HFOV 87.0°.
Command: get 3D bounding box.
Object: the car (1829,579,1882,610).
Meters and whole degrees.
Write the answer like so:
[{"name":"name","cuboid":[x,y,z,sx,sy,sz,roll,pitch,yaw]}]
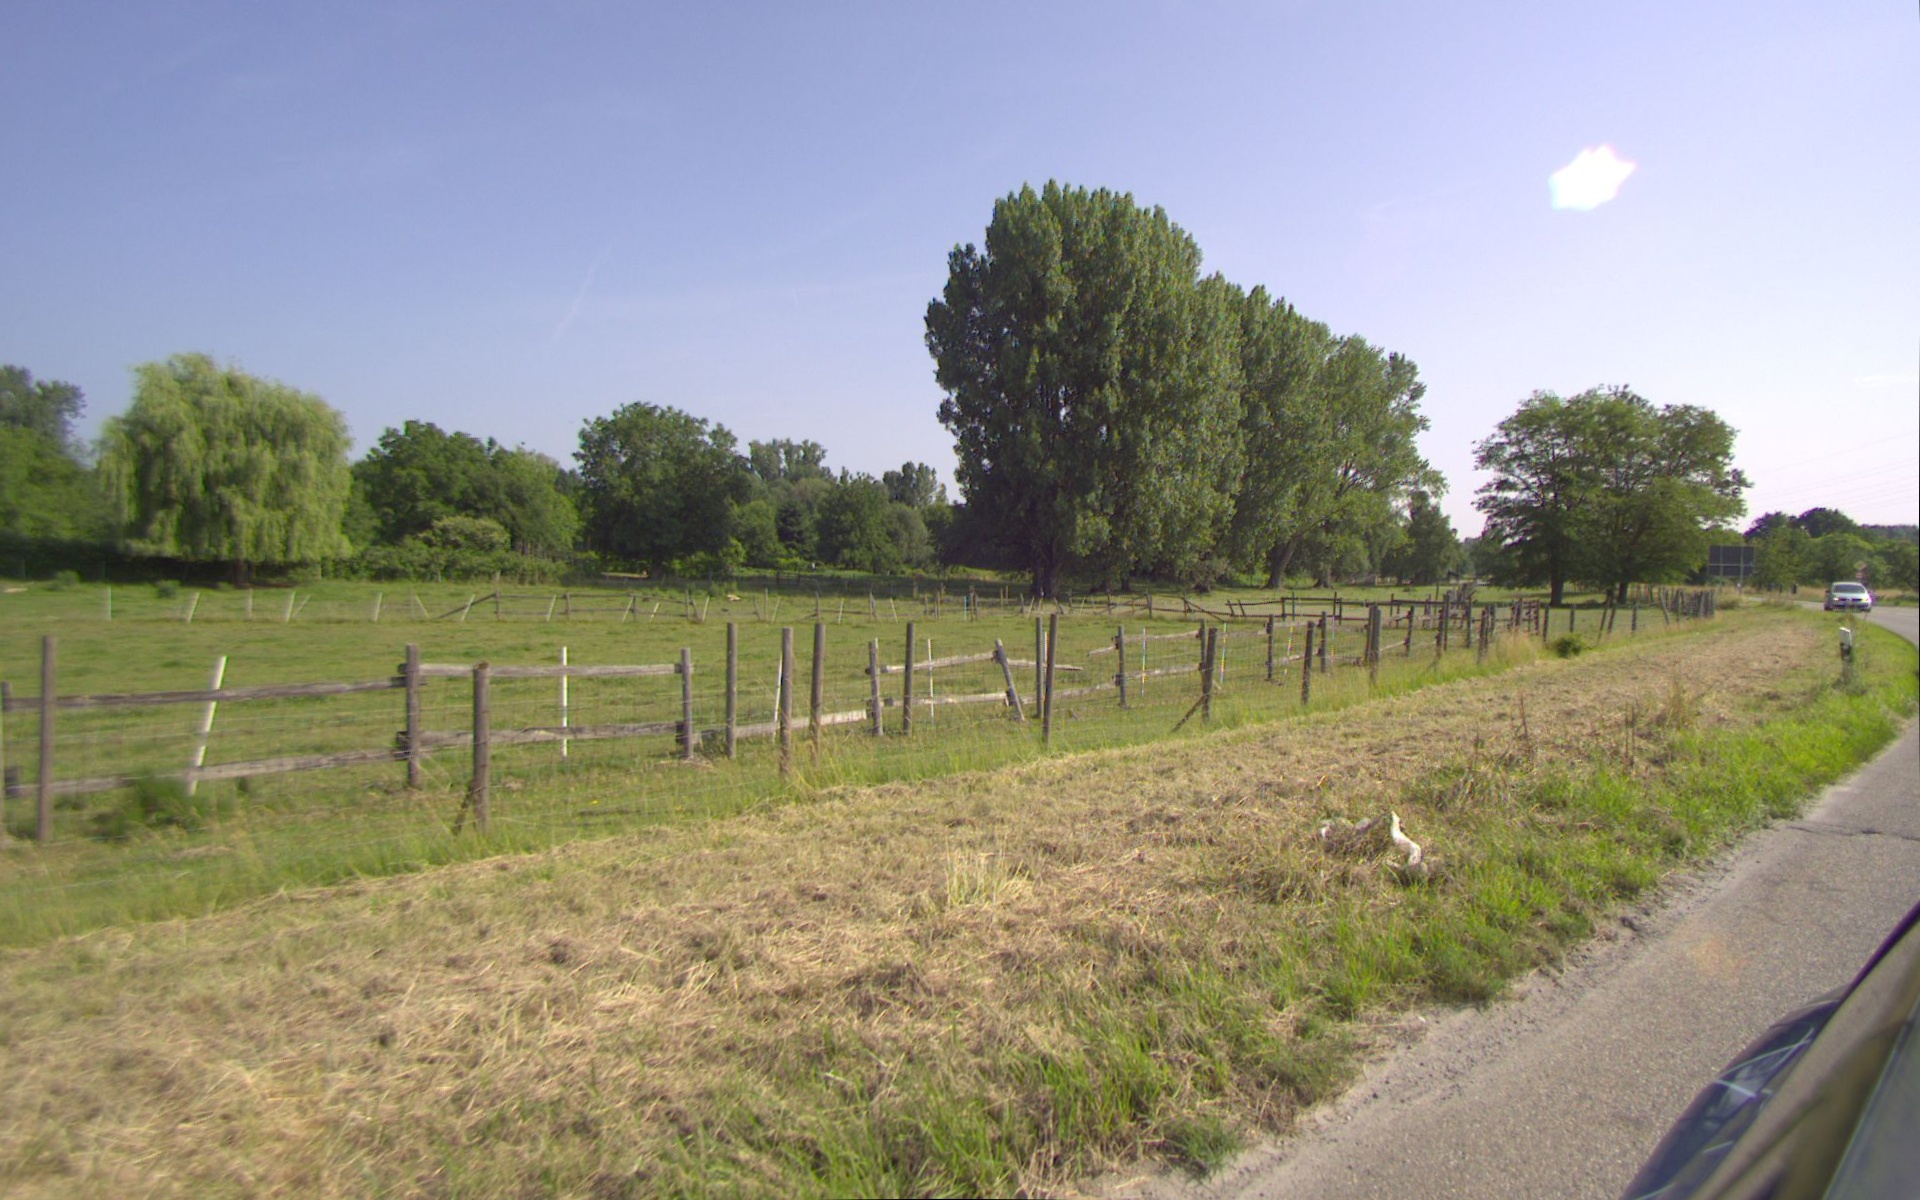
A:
[{"name":"car","cuboid":[48.124,-0.315,54.457,1.991,1.599,3.853,1,1,39]}]
